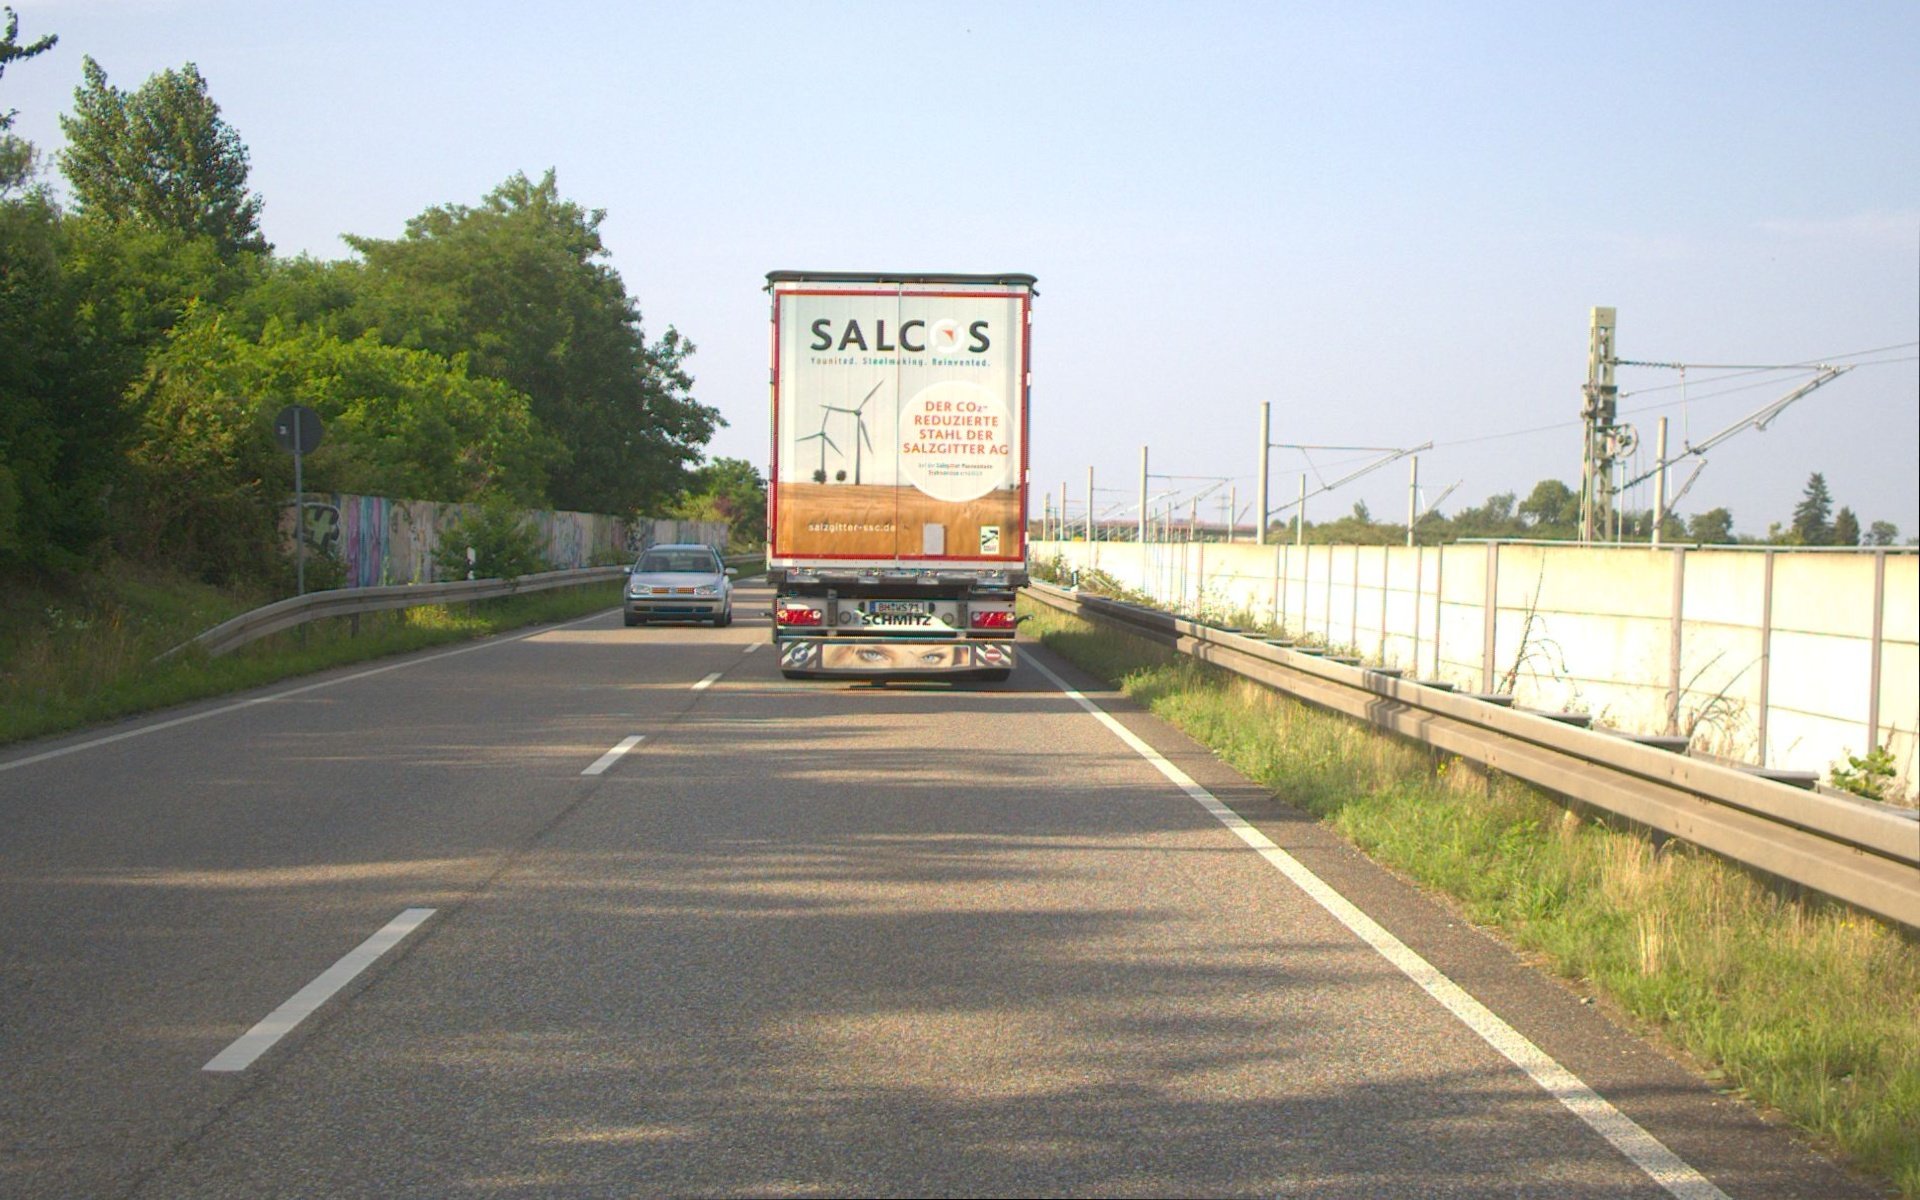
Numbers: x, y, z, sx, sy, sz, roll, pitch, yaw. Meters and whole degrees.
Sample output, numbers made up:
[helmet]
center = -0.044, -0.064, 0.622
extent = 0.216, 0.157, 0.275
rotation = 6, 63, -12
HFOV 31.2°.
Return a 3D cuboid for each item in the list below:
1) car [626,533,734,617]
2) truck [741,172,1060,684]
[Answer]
[car]
center = -4.820, -0.443, 59.554
extent = 1.719, 1.389, 4.361
rotation = 0, 1, -3
[truck]
center = -0.826, -1.789, 38.961
extent = 3.033, 4.903, 11.686
rotation = 0, 1, -2
